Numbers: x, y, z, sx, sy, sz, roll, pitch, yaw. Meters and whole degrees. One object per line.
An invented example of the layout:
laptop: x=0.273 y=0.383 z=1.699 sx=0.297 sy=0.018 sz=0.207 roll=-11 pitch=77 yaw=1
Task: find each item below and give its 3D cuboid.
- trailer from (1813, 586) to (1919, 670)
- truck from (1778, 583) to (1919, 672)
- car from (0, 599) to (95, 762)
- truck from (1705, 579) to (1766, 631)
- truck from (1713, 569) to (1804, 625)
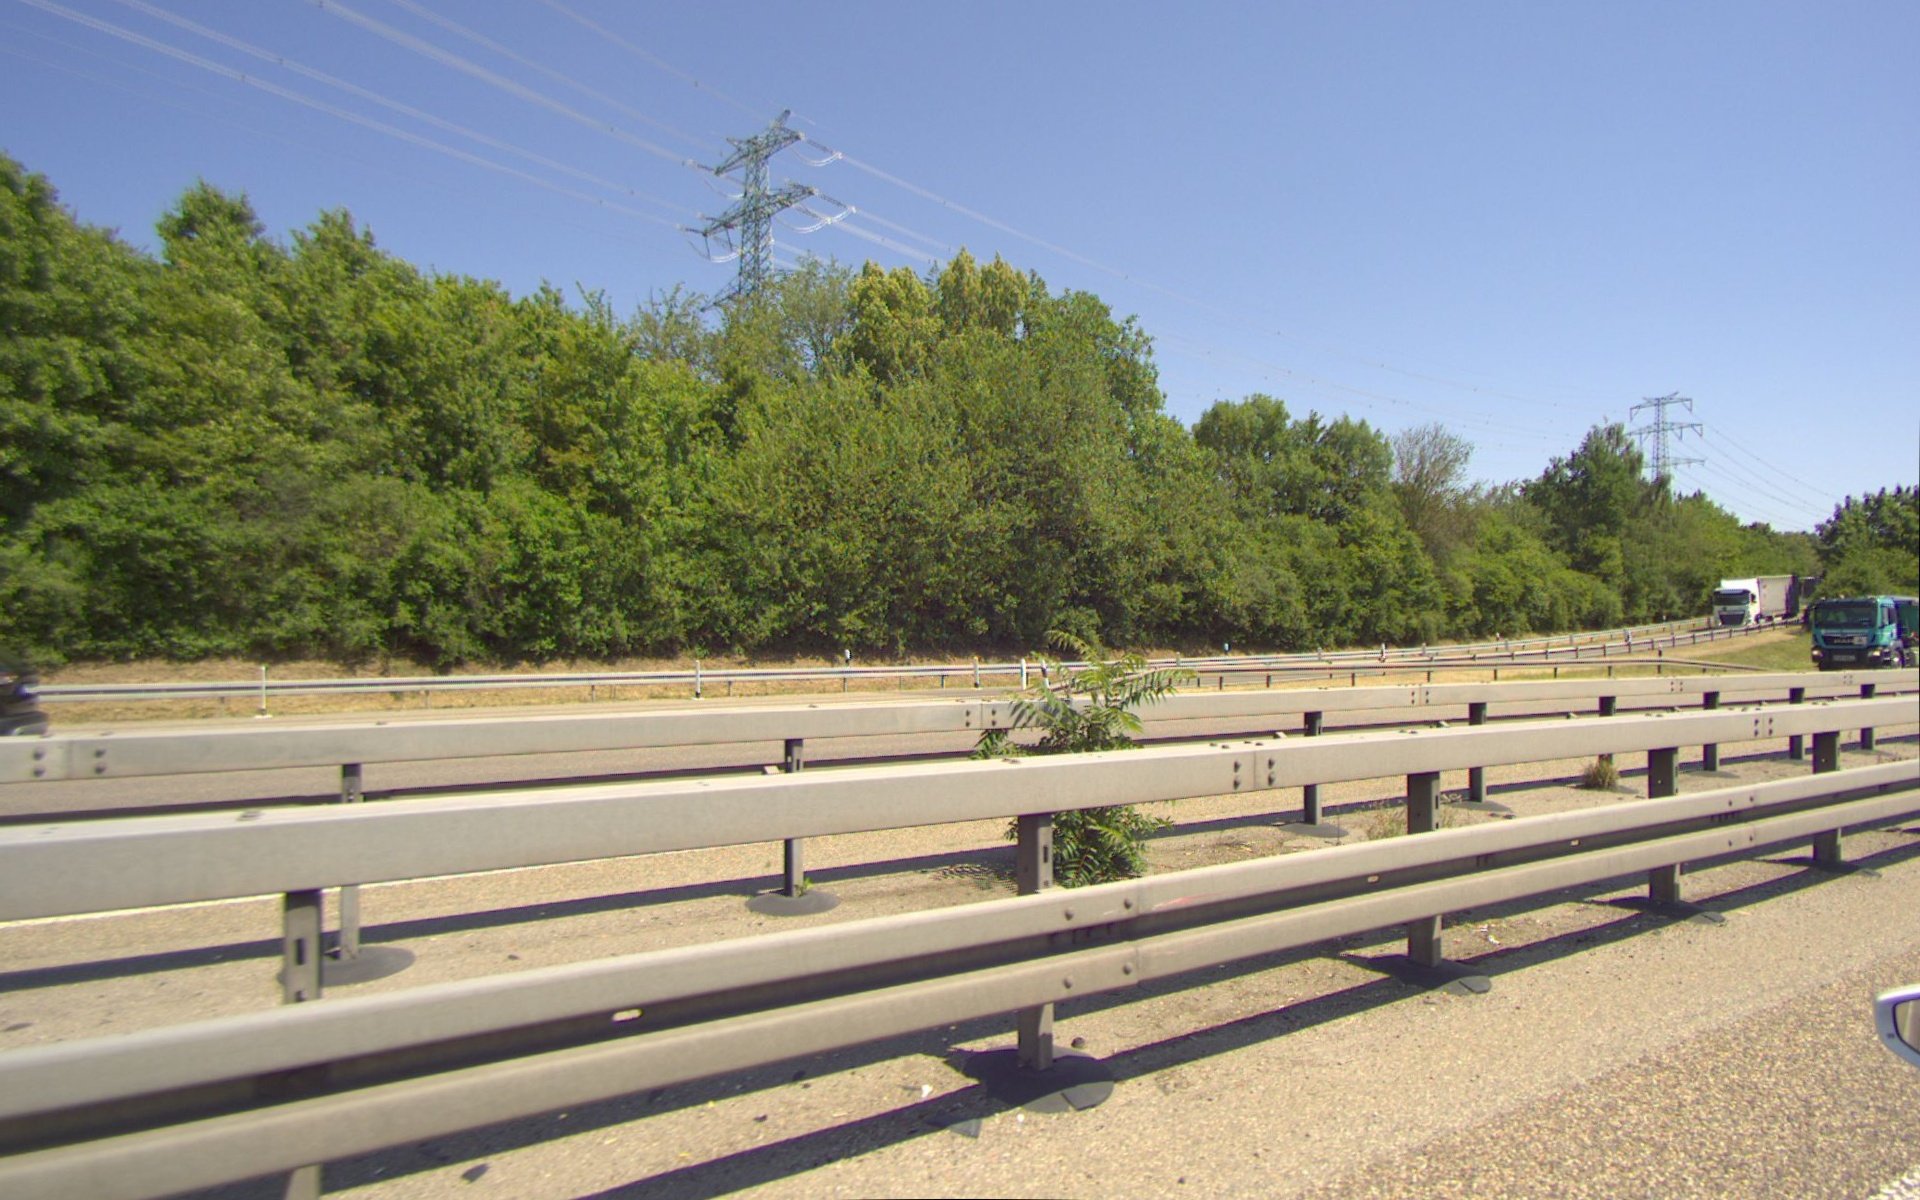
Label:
trailer: x=40.848 y=1.218 z=43.583 sx=9.597 sy=3.344 sz=2.900 roll=1 pitch=-1 yaw=-31
truck: x=36.064 y=1.114 z=40.713 sx=5.268 sy=3.344 sz=2.900 roll=1 pitch=-1 yaw=-30
car: x=-12.777 y=0.903 z=11.163 sx=4.464 sy=1.823 sz=2.146 roll=1 pitch=-3 yaw=-33
truck: x=62.016 y=0.372 z=80.322 sx=4.286 sy=3.948 sz=2.921 roll=-2 pitch=0 yaw=-39
truck: x=67.610 y=-0.373 z=84.839 sx=14.419 sy=4.399 sz=2.972 roll=-2 pitch=0 yaw=-39
